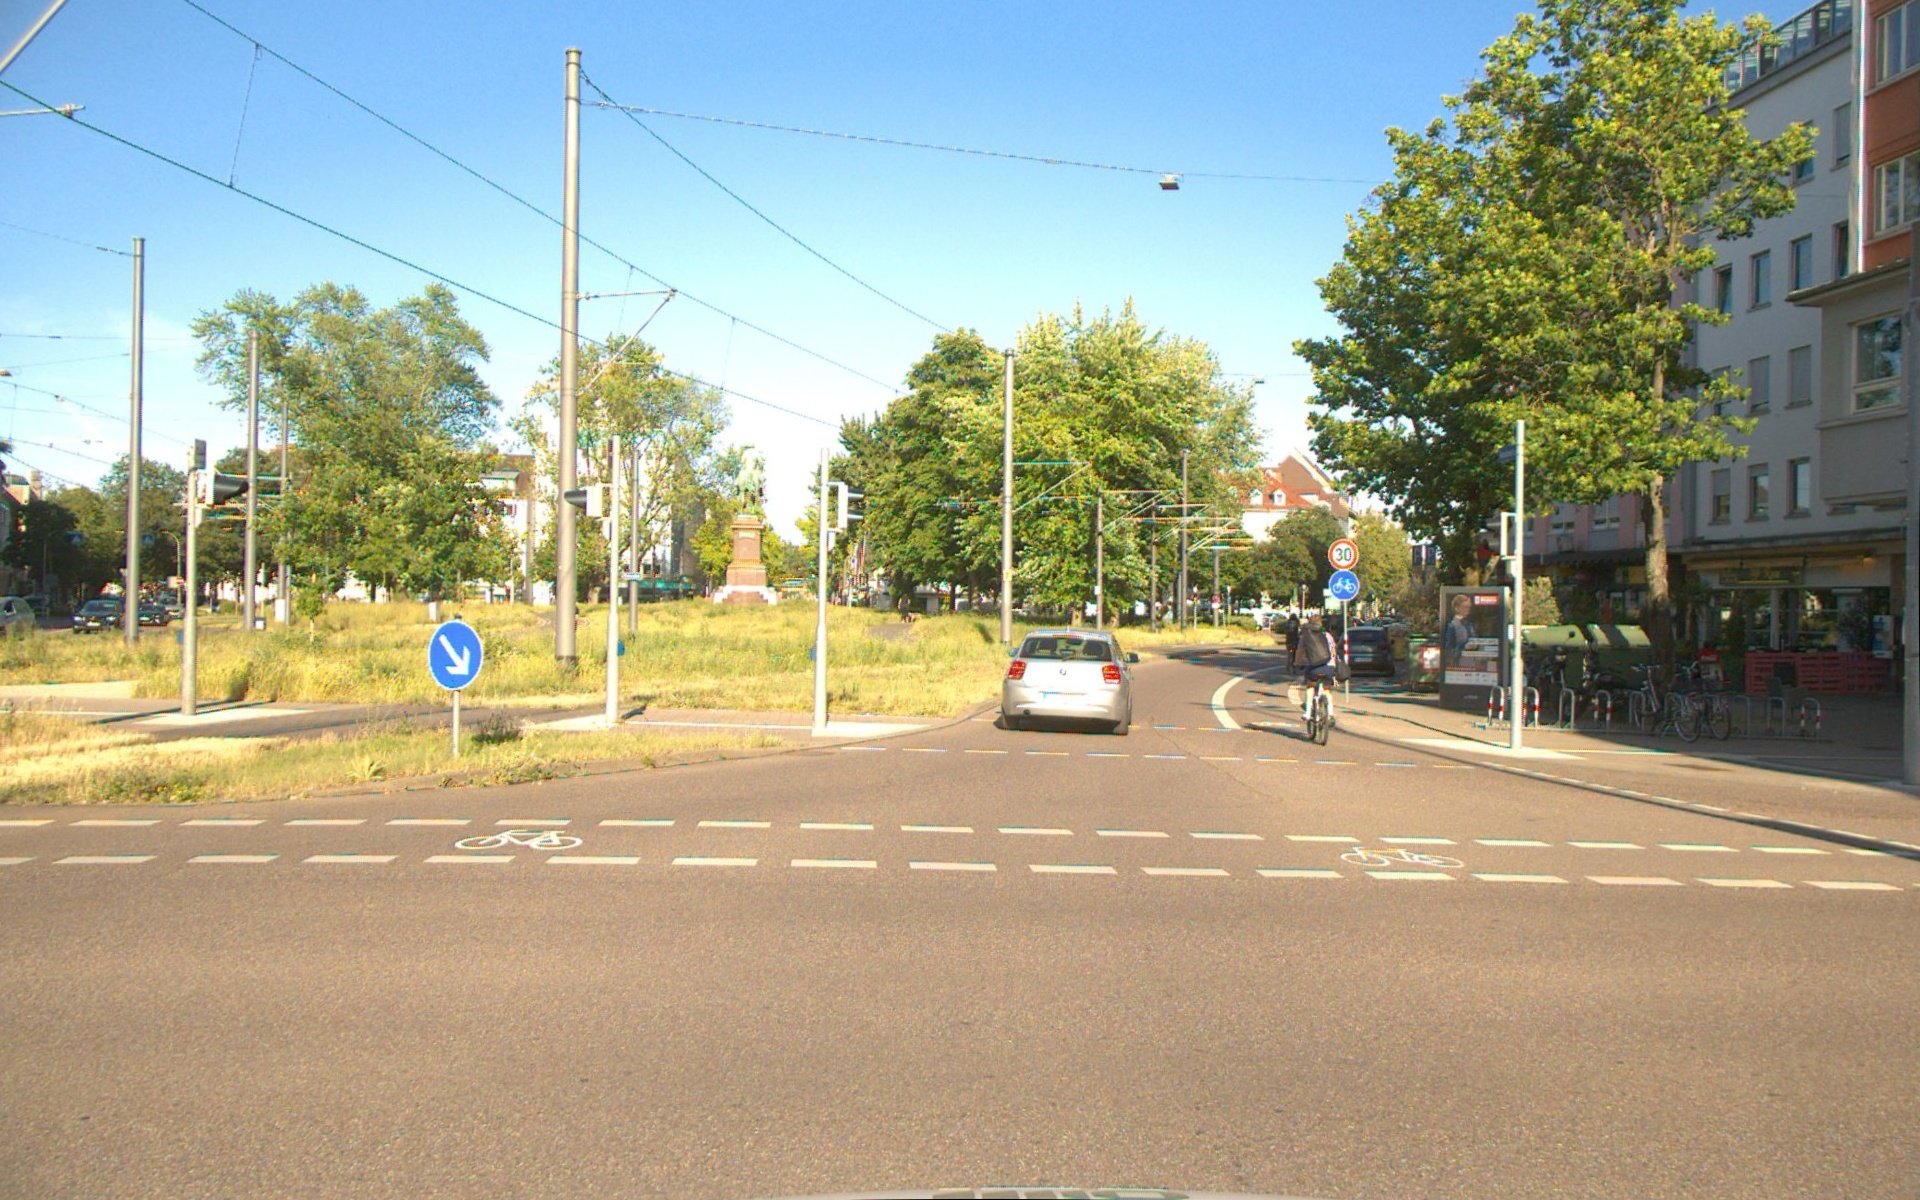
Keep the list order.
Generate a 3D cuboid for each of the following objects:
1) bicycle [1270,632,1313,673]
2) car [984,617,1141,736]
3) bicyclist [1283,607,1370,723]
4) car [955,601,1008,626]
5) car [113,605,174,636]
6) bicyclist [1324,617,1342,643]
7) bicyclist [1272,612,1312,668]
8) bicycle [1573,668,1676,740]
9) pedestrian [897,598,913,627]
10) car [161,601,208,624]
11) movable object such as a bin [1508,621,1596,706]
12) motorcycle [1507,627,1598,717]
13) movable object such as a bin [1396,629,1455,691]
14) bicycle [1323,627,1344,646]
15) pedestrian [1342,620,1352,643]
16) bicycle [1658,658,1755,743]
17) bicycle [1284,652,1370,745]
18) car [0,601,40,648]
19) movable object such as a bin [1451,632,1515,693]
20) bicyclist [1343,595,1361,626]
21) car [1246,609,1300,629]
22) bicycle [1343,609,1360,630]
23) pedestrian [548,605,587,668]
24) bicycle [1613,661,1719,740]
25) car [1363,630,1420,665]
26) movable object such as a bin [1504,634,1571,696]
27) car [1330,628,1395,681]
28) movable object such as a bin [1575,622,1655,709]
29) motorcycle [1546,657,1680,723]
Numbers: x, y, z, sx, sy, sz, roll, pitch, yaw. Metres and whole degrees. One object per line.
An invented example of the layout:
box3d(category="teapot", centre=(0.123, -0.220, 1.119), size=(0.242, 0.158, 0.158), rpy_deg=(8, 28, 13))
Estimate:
box3d(category="bicycle", centre=(10.104, 1.603, 50.324), size=(0.803, 1.206, 1.962), rpy_deg=(2, -1, 25))
box3d(category="car", centre=(1.569, 1.052, 23.796), size=(1.951, 1.448, 4.199), rpy_deg=(3, -1, 7))
box3d(category="bicyclist", centre=(5.027, 0.886, 22.735), size=(1.016, 1.510, 0.989), rpy_deg=(3, -1, 6))
box3d(category="car", centre=(2.259, 1.381, 172.165), size=(5.232, 2.354, 1.998), rpy_deg=(3, -1, -5))
box3d(category="car", centre=(-46.710, 1.210, 94.688), size=(1.957, 1.540, 4.271), rpy_deg=(2, -4, -10))
box3d(category="bicyclist", centre=(22.756, 1.818, 100.905), size=(0.909, 1.534, 0.826), rpy_deg=(3, -1, 3))
box3d(category="bicyclist", centre=(10.105, 1.227, 50.316), size=(0.921, 1.662, 0.934), rpy_deg=(2, -1, 25))
box3d(category="bicycle", centre=(10.439, 1.619, 26.065), size=(0.466, 1.002, 2.115), rpy_deg=(3, -1, -9))
box3d(category="pedestrian", centre=(-3.142, 0.718, 94.551), size=(0.667, 1.644, 0.549), rpy_deg=(4, -2, -34))
box3d(category="car", centre=(-51.829, 0.847, 110.631), size=(1.960, 1.377, 4.749), rpy_deg=(2, 0, -15))
box3d(category="movable object such as a bin", centre=(12.068, 1.294, 33.755), size=(1.354, 1.668, 1.007), rpy_deg=(2, -1, -6))
box3d(category="motorcycle", centre=(11.106, 1.323, 31.111), size=(0.786, 1.566, 2.545), rpy_deg=(2, 0, 1))
box3d(category="movable object such as a bin", centre=(11.106, 1.426, 39.465), size=(1.253, 1.416, 0.922), rpy_deg=(2, -1, 12))
box3d(category="bicycle", centre=(22.750, 2.225, 100.826), size=(0.793, 1.087, 2.584), rpy_deg=(3, -1, 3))
box3d(category="pedestrian", centre=(28.623, 2.313, 122.339), size=(0.623, 1.701, 0.693), rpy_deg=(2, -1, 19))
box3d(category="bicycle", centre=(12.033, 1.603, 26.724), size=(0.522, 1.266, 1.844), rpy_deg=(3, -1, -7))
box3d(category="bicycle", centre=(4.997, 1.313, 22.666), size=(0.867, 1.155, 2.230), rpy_deg=(3, -1, 6))
box3d(category="car", centre=(-31.526, 0.751, 53.142), size=(1.957, 1.452, 4.499), rpy_deg=(3, -1, -10))
box3d(category="movable object such as a bin", centre=(12.417, 1.483, 39.315), size=(1.149, 1.379, 0.927), rpy_deg=(3, -1, -4))
box3d(category="bicyclist", centre=(19.388, 0.535, 81.835), size=(0.769, 1.478, 1.096), rpy_deg=(2, -1, 17))
box3d(category="car", centre=(33.295, 1.997, 175.760), size=(5.165, 1.831, 2.159), rpy_deg=(3, -1, -8))
box3d(category="bicycle", centre=(19.382, 0.972, 81.920), size=(0.639, 0.975, 2.699), rpy_deg=(2, -1, 17))
box3d(category="pedestrian", centre=(-10.809, 0.991, 45.590), size=(0.718, 1.700, 0.745), rpy_deg=(1, -1, 20))
box3d(category="bicycle", centre=(11.133, 1.565, 26.138), size=(0.466, 1.136, 2.115), rpy_deg=(3, -1, -9))
box3d(category="car", centre=(18.312, 2.018, 70.062), size=(1.813, 1.367, 4.599), rpy_deg=(2, -1, 21))
box3d(category="movable object such as a bin", centre=(13.780, 1.546, 39.507), size=(1.189, 1.415, 0.959), rpy_deg=(3, -1, -4))
box3d(category="car", centre=(12.283, 1.623, 50.360), size=(1.728, 1.463, 4.586), rpy_deg=(0, 0, 16))
box3d(category="movable object such as a bin", centre=(13.373, 1.325, 33.810), size=(1.231, 1.739, 0.944), rpy_deg=(1, -2, -6))
box3d(category="motorcycle", centre=(11.563, 1.591, 29.303), size=(2.055, 1.039, 0.761), rpy_deg=(3, 0, -5))
